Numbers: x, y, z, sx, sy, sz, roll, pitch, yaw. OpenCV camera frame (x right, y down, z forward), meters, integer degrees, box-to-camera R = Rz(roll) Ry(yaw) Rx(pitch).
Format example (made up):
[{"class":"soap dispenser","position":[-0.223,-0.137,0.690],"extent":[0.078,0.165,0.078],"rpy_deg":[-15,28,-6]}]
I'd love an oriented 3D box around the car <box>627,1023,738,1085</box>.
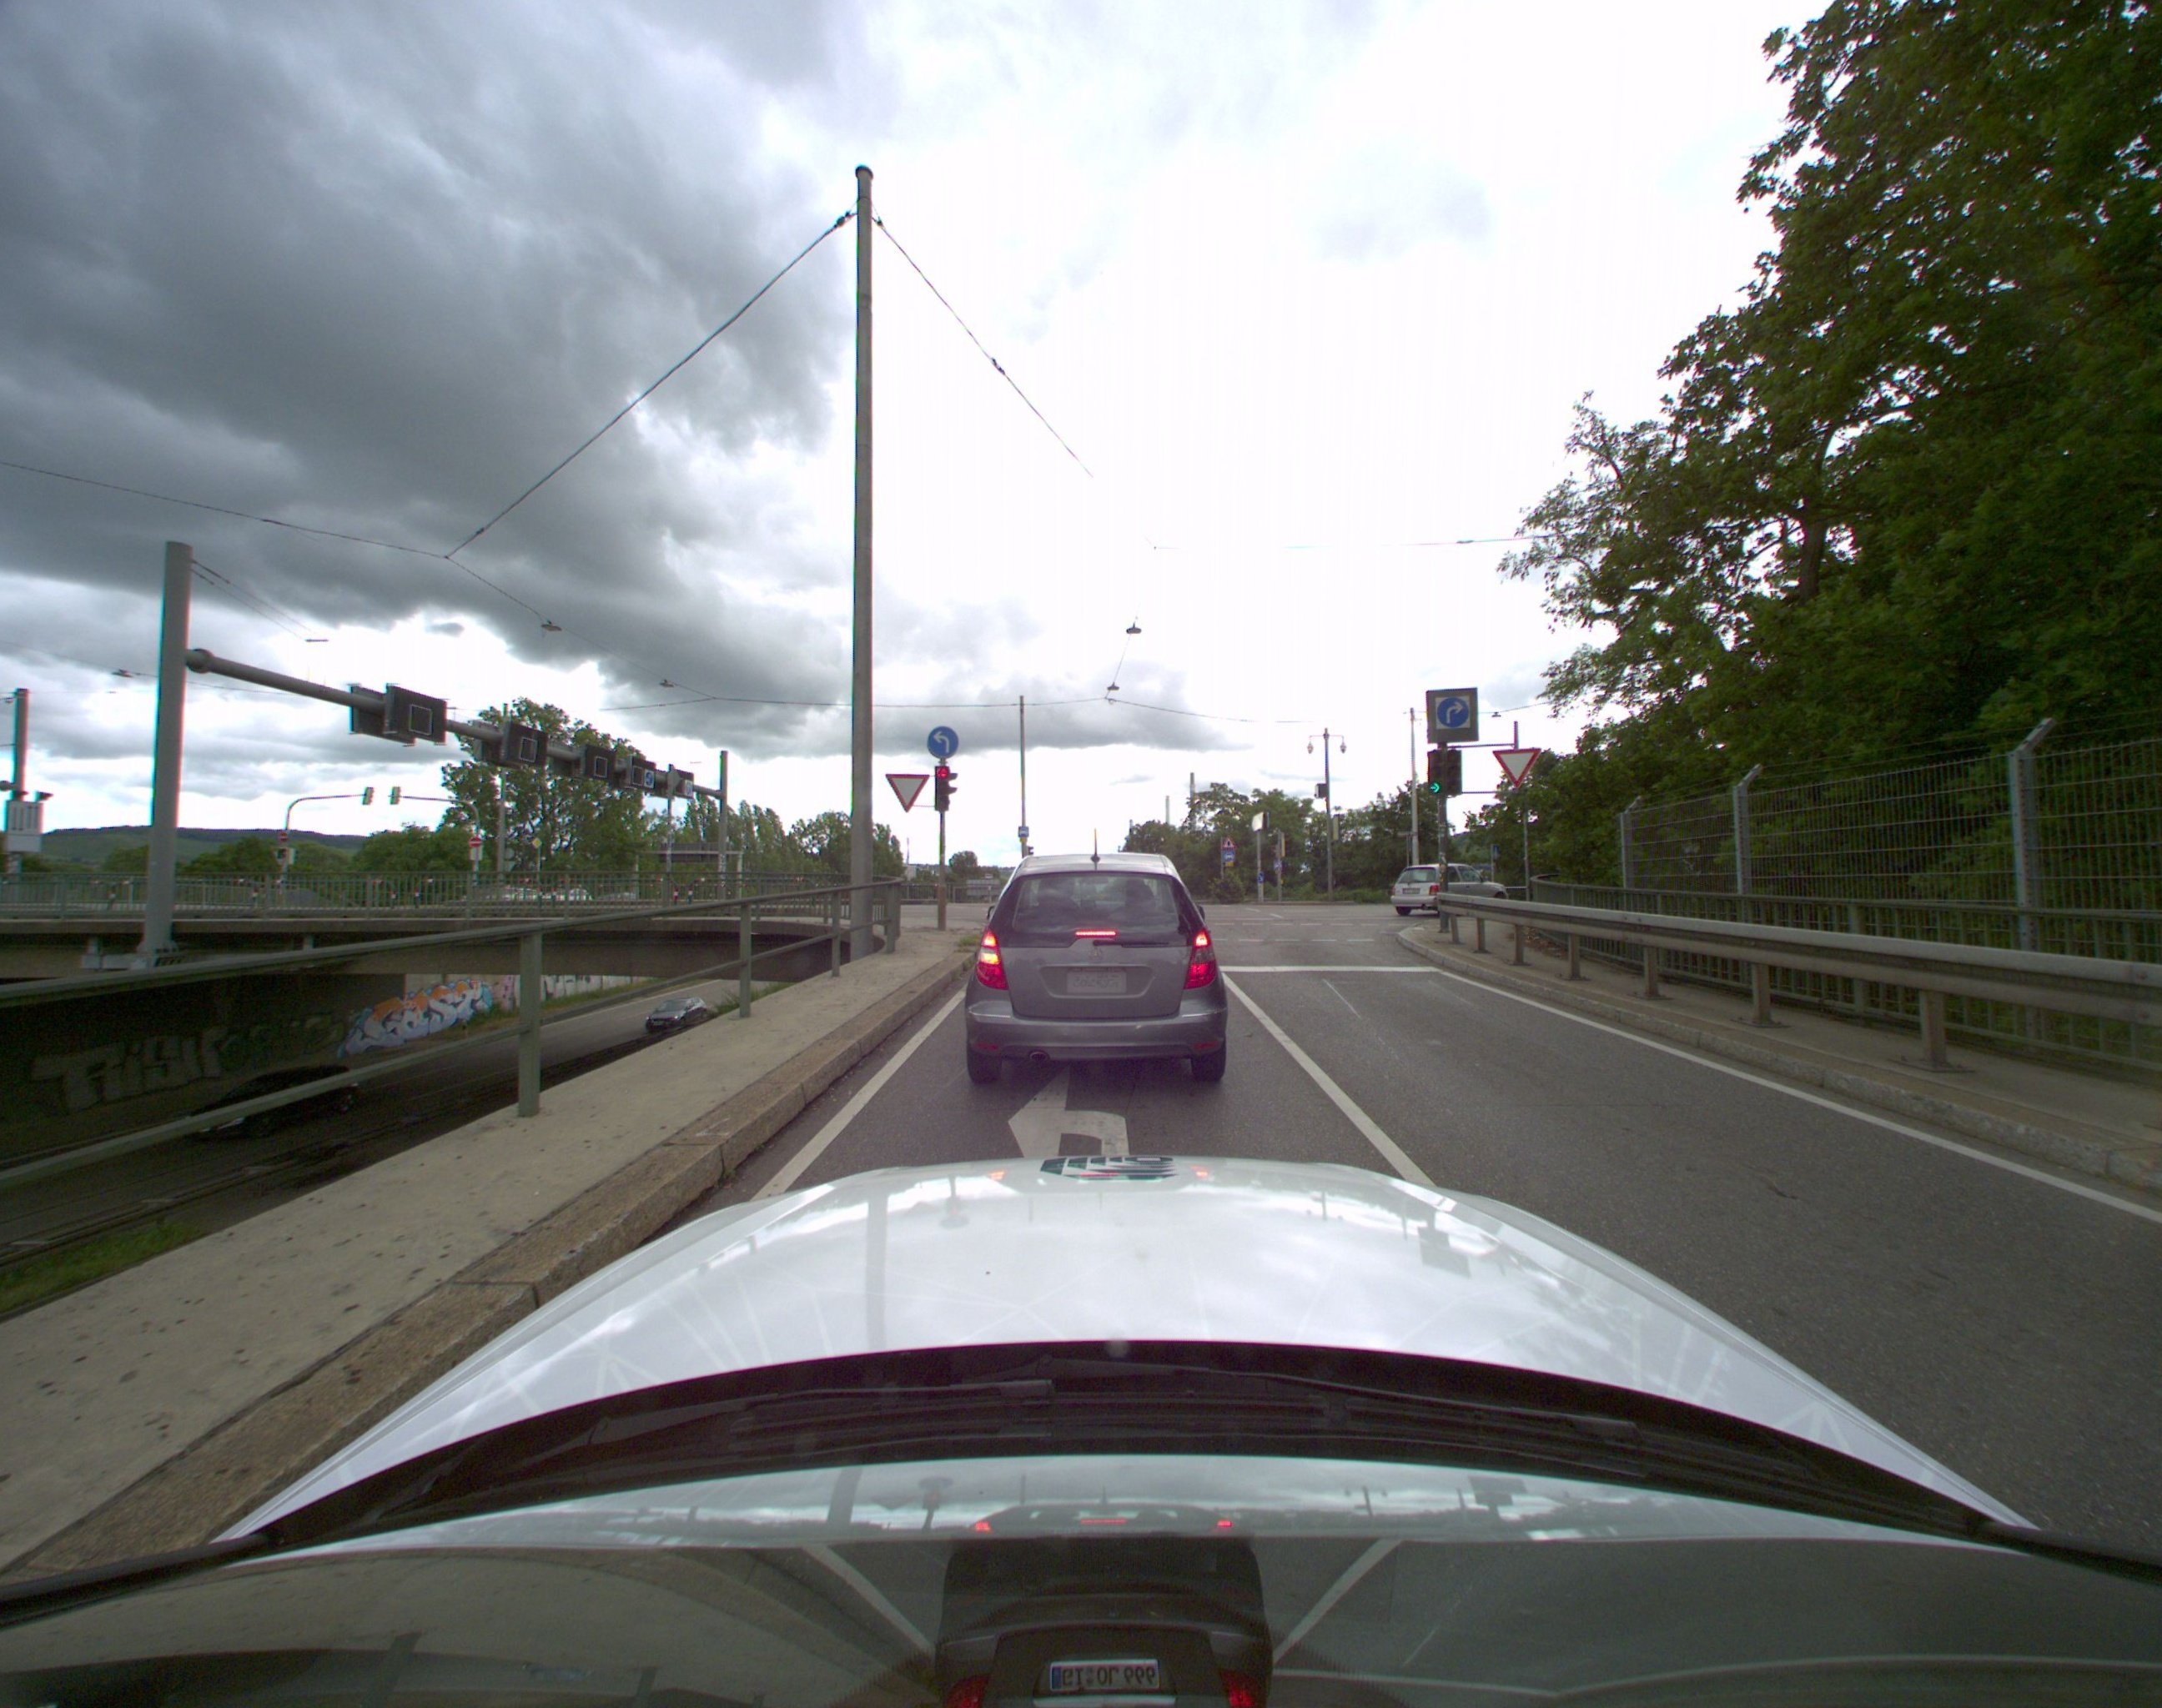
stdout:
[{"class":"car","position":[-15.087,7.573,31.154],"extent":[1.850,1.465,4.427],"rpy_deg":[-1,-3,3]}]

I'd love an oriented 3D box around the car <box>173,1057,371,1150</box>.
[{"class":"car","position":[-24.939,7.639,25.353],"extent":[1.875,1.719,4.183],"rpy_deg":[-2,-3,2]}]

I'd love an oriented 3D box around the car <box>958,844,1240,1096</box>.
[{"class":"car","position":[0.170,0.728,6.795],"extent":[1.733,1.543,3.542],"rpy_deg":[0,-1,2]}]

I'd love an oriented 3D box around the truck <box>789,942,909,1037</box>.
[{"class":"truck","position":[-11.709,6.772,42.363],"extent":[2.871,3.526,9.875],"rpy_deg":[-3,-3,2]}]

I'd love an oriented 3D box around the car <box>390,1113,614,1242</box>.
[{"class":"car","position":[-12.408,6.917,17.838],"extent":[1.778,1.302,4.155],"rpy_deg":[-3,-3,3]}]

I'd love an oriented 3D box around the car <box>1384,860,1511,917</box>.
[{"class":"car","position":[10.250,0.921,22.723],"extent":[3.455,1.431,1.574],"rpy_deg":[-1,-1,-32]}]
